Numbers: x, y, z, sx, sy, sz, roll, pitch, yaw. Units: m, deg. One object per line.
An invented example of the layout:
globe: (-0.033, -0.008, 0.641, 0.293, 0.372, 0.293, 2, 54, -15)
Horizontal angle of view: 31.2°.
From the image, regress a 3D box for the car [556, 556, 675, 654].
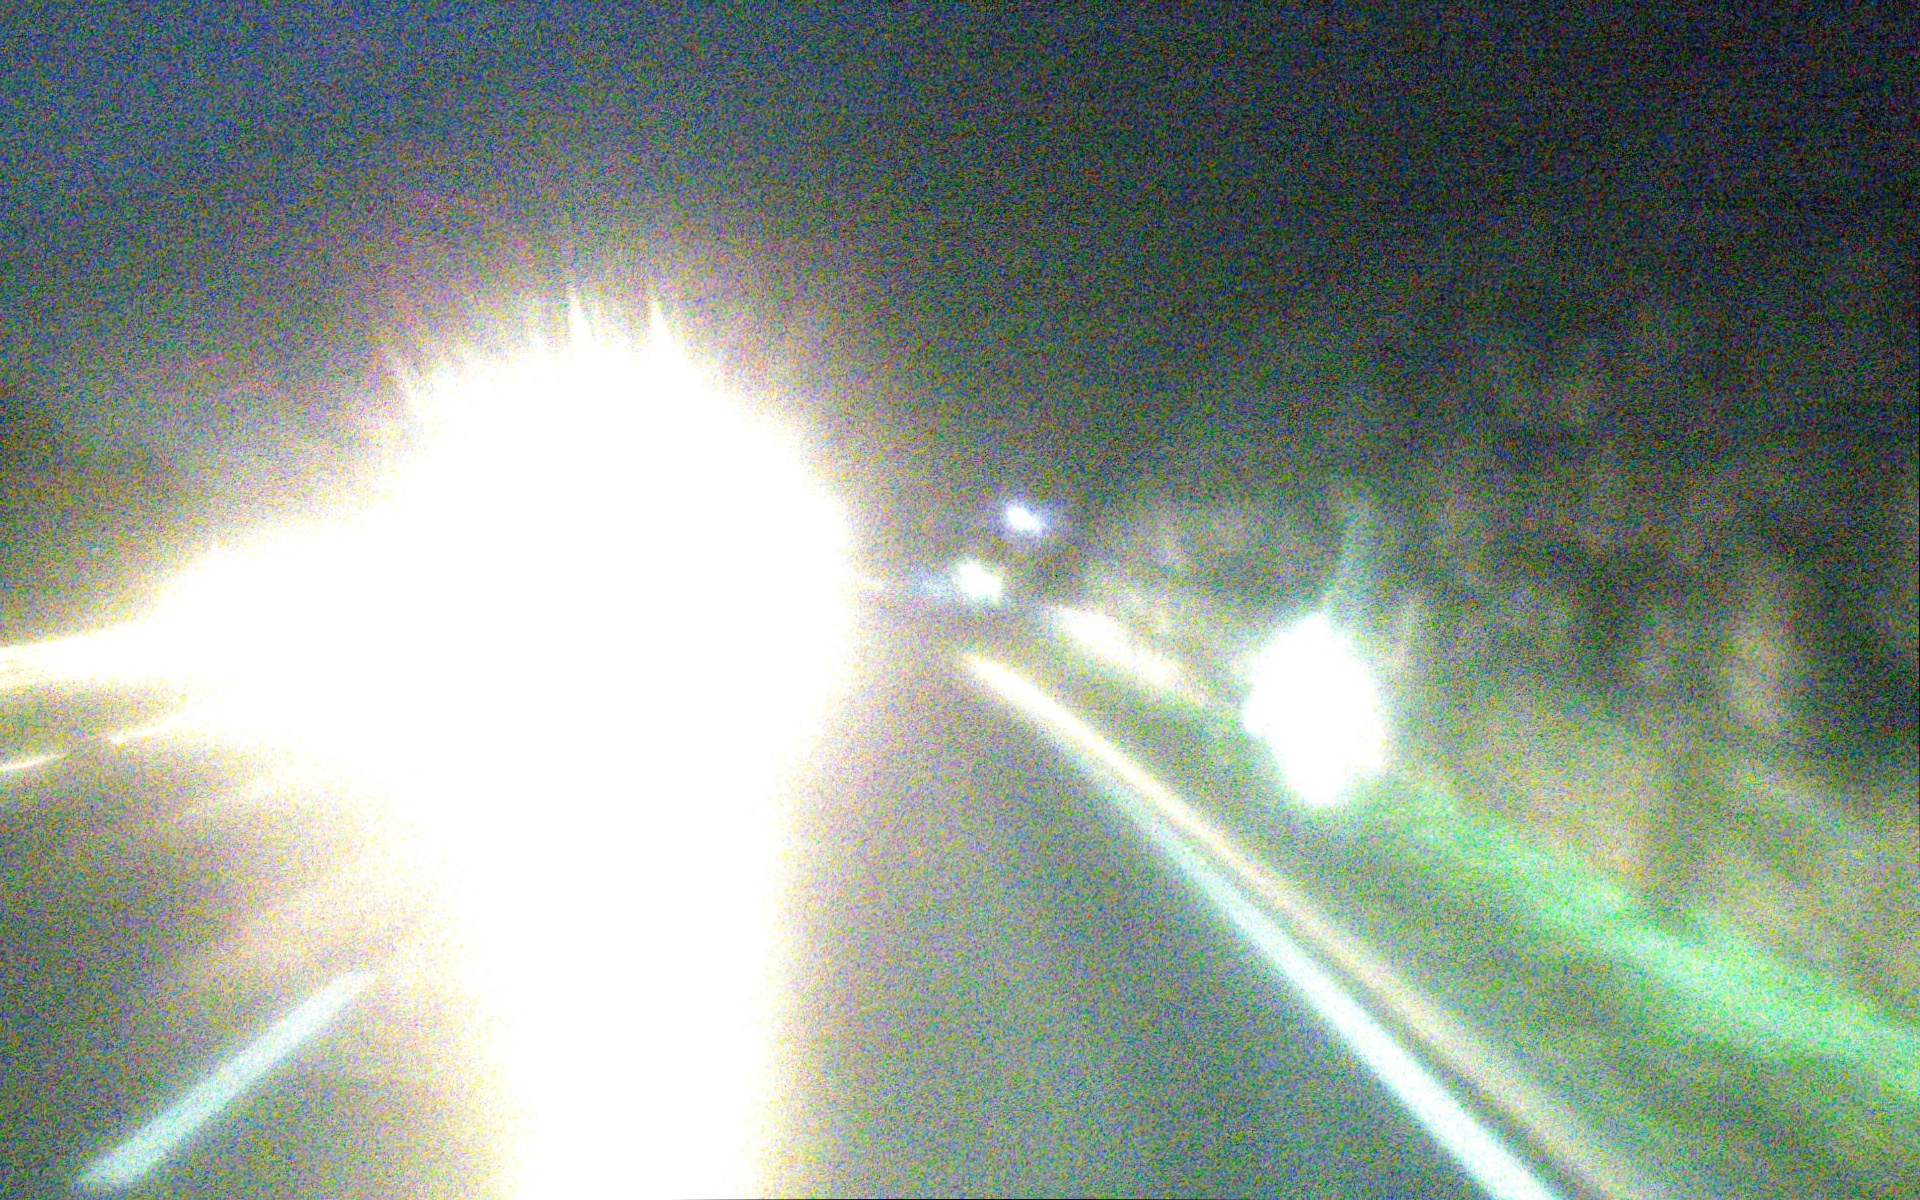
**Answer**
car: (-5.964, 0.050, 59.866, 1.920, 1.640, 4.026, 0, 1, -4)
